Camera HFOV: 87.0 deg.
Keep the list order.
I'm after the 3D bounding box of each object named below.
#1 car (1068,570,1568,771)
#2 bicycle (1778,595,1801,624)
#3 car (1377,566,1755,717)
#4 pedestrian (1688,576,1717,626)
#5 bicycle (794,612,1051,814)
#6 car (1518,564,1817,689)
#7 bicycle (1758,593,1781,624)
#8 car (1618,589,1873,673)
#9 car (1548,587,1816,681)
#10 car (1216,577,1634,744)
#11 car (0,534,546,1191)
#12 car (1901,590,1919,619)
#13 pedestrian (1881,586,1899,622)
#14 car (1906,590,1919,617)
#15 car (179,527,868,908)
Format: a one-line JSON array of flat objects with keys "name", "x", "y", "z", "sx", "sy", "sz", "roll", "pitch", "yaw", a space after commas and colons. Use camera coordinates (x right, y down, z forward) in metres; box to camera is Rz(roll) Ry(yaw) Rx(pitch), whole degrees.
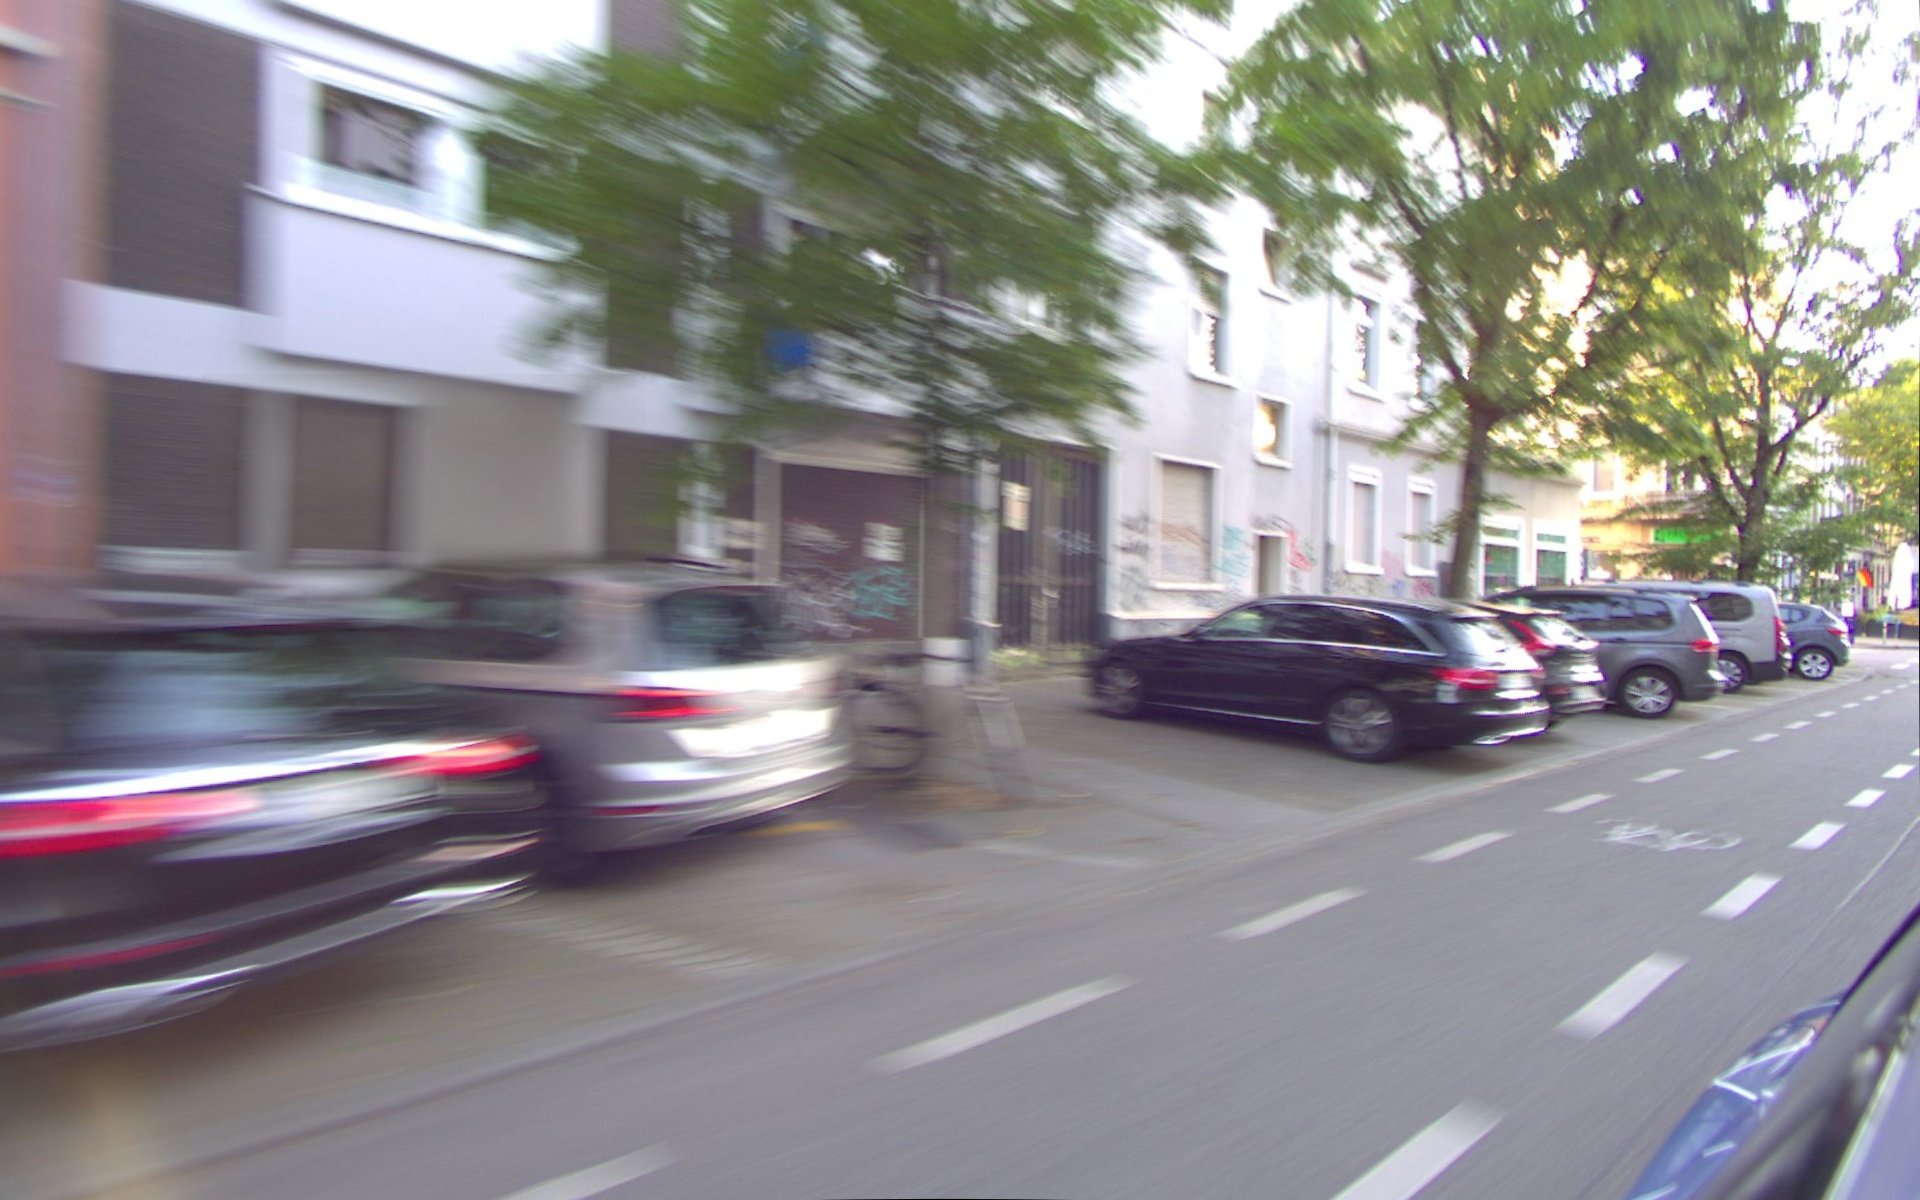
[{"name": "car", "x": 3.316, "y": 0.509, "z": 10.070, "sx": 1.691, "sy": 1.482, "sz": 4.382, "roll": 1, "pitch": 2, "yaw": -43}, {"name": "bicycle", "x": 35.761, "y": 0.398, "z": 43.618, "sx": 1.752, "sy": 1.226, "sz": 0.470, "roll": 0, "pitch": 0, "yaw": -41}, {"name": "car", "x": 8.079, "y": 0.460, "z": 13.925, "sx": 4.154, "sy": 1.717, "sz": 1.829, "roll": 3, "pitch": 1, "yaw": 28}, {"name": "pedestrian", "x": 28.461, "y": 0.024, "z": 38.805, "sx": 0.600, "sy": 1.855, "sz": 0.560, "roll": 3, "pitch": 0, "yaw": -4}, {"name": "bicycle", "x": -0.306, "y": 0.704, "z": 7.097, "sx": 1.794, "sy": 1.158, "sz": 0.721, "roll": 3, "pitch": 2, "yaw": 42}, {"name": "car", "x": 11.983, "y": 0.375, "z": 17.518, "sx": 3.965, "sy": 1.838, "sz": 1.806, "roll": 3, "pitch": 1, "yaw": 29}, {"name": "bicycle", "x": 32.615, "y": 0.344, "z": 40.769, "sx": 1.558, "sy": 1.226, "sz": 0.470, "roll": 0, "pitch": 0, "yaw": -41}, {"name": "car", "x": 16.127, "y": 0.574, "z": 21.069, "sx": 3.967, "sy": 1.560, "sz": 1.760, "roll": 1, "pitch": 1, "yaw": 31}, {"name": "car", "x": 13.638, "y": 0.579, "z": 19.443, "sx": 3.964, "sy": 1.586, "sz": 1.703, "roll": 1, "pitch": 1, "yaw": 29}, {"name": "car", "x": 5.141, "y": 0.543, "z": 11.530, "sx": 3.987, "sy": 1.482, "sz": 1.693, "roll": 3, "pitch": 2, "yaw": 43}, {"name": "car", "x": -3.707, "y": 0.554, "z": 3.958, "sx": 3.936, "sy": 1.573, "sz": 1.703, "roll": 3, "pitch": 1, "yaw": 27}, {"name": "car", "x": 52.759, "y": 0.356, "z": 53.035, "sx": 4.586, "sy": 1.536, "sz": 1.796, "roll": 3, "pitch": 1, "yaw": 24}, {"name": "pedestrian", "x": 47.513, "y": 0.195, "z": 51.716, "sx": 0.633, "sy": 1.774, "sz": 0.499, "roll": 0, "pitch": 2, "yaw": -36}, {"name": "car", "x": 54.706, "y": 0.282, "z": 55.280, "sx": 4.093, "sy": 1.470, "sz": 1.788, "roll": 3, "pitch": 1, "yaw": 35}, {"name": "car", "x": -2.686, "y": 0.439, "z": 6.058, "sx": 3.965, "sy": 1.613, "sz": 1.702, "roll": 3, "pitch": 1, "yaw": 29}]
